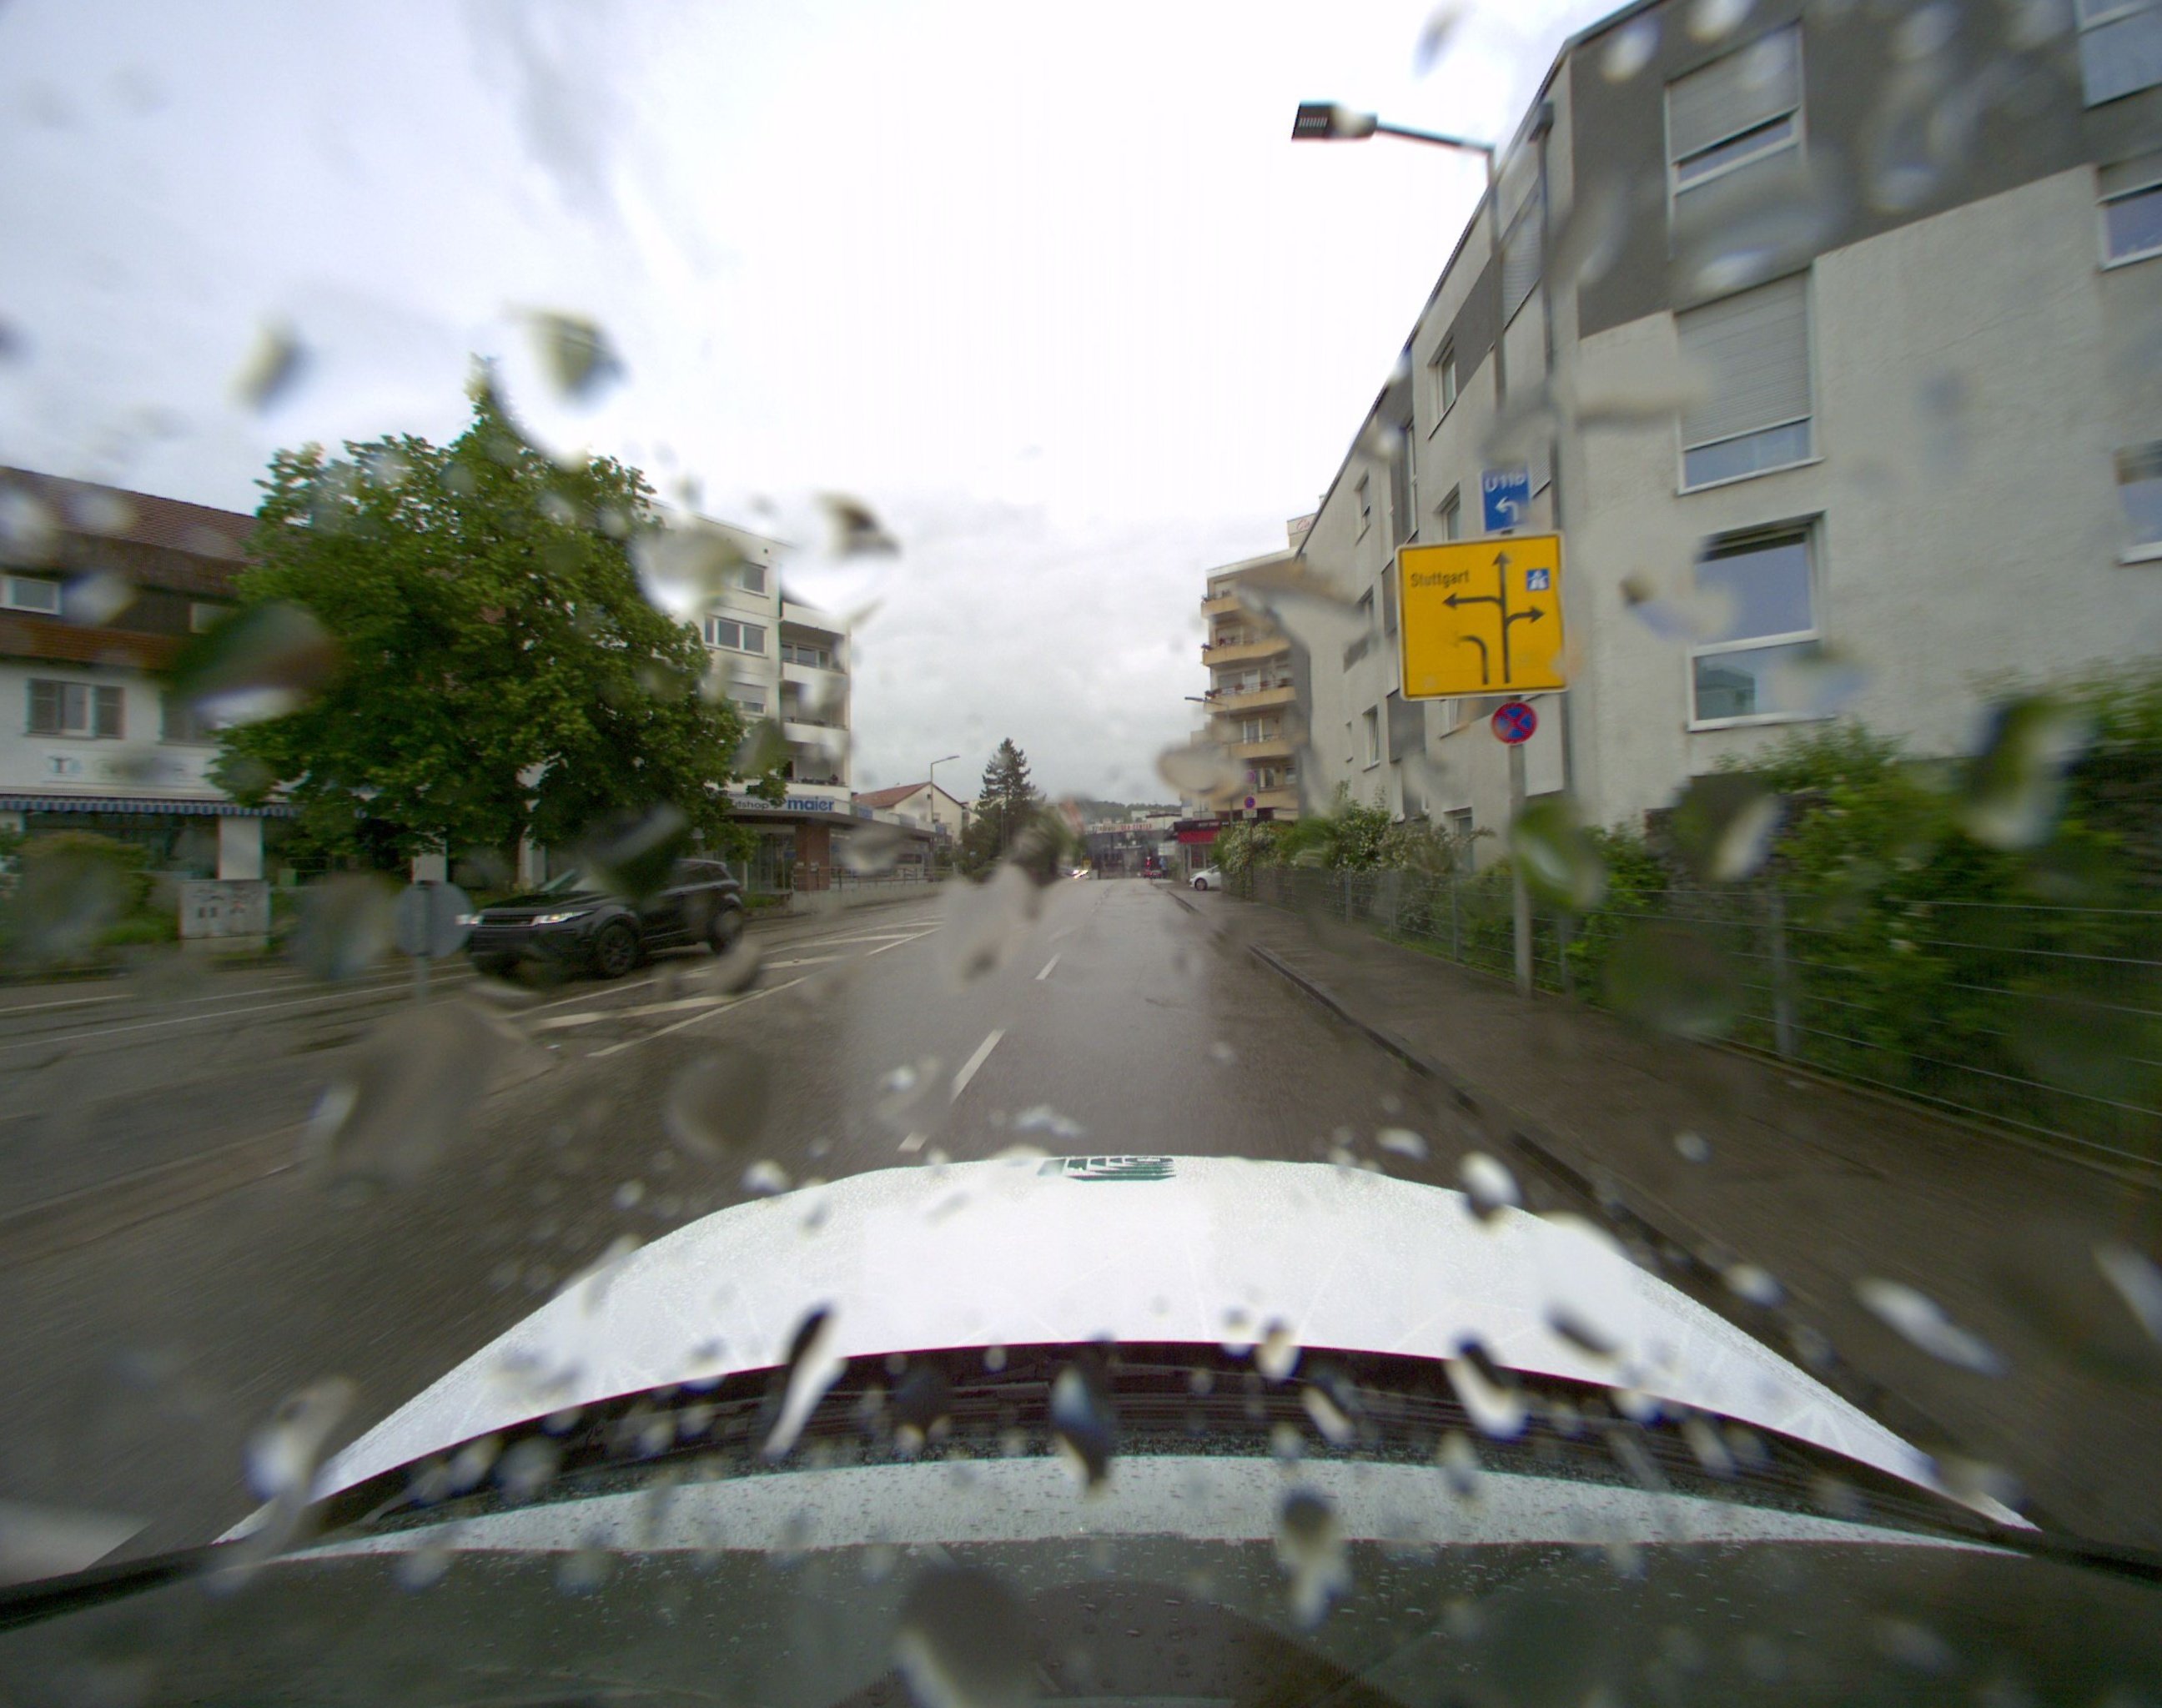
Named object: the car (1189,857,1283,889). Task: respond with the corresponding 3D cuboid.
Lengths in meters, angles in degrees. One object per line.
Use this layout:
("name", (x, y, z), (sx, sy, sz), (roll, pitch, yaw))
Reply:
("car", (7.796, 0.916, 40.988), (4.216, 1.494, 1.885), (-1, 1, 32))

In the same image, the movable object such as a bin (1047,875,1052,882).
("movable object such as a bin", (-4.928, 3.860, 128.327), (0.644, 0.966, 0.683), (-2, -2, 6))

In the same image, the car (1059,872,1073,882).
("car", (-2.398, 3.689, 132.358), (1.643, 1.521, 4.331), (-1, -2, 7))

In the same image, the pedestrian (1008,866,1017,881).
("pedestrian", (-7.235, 2.044, 85.604), (0.867, 1.607, 1.102), (-1, -2, -3))

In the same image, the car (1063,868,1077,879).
("car", (-1.581, 2.757, 116.647), (1.691, 1.409, 4.001), (-4, 0, 2))

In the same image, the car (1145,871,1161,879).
("car", (13.678, 3.929, 154.964), (1.788, 1.419, 4.023), (-2, -2, 26))

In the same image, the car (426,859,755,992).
("car", (-6.788, 0.870, 11.948), (1.793, 1.557, 4.327), (-1, 0, 8))

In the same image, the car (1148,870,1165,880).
("car", (12.597, 3.549, 135.484), (1.978, 1.534, 4.665), (-1, -3, 16))

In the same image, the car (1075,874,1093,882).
("car", (0.739, 5.379, 184.714), (2.006, 1.512, 4.390), (3, 0, -31))
